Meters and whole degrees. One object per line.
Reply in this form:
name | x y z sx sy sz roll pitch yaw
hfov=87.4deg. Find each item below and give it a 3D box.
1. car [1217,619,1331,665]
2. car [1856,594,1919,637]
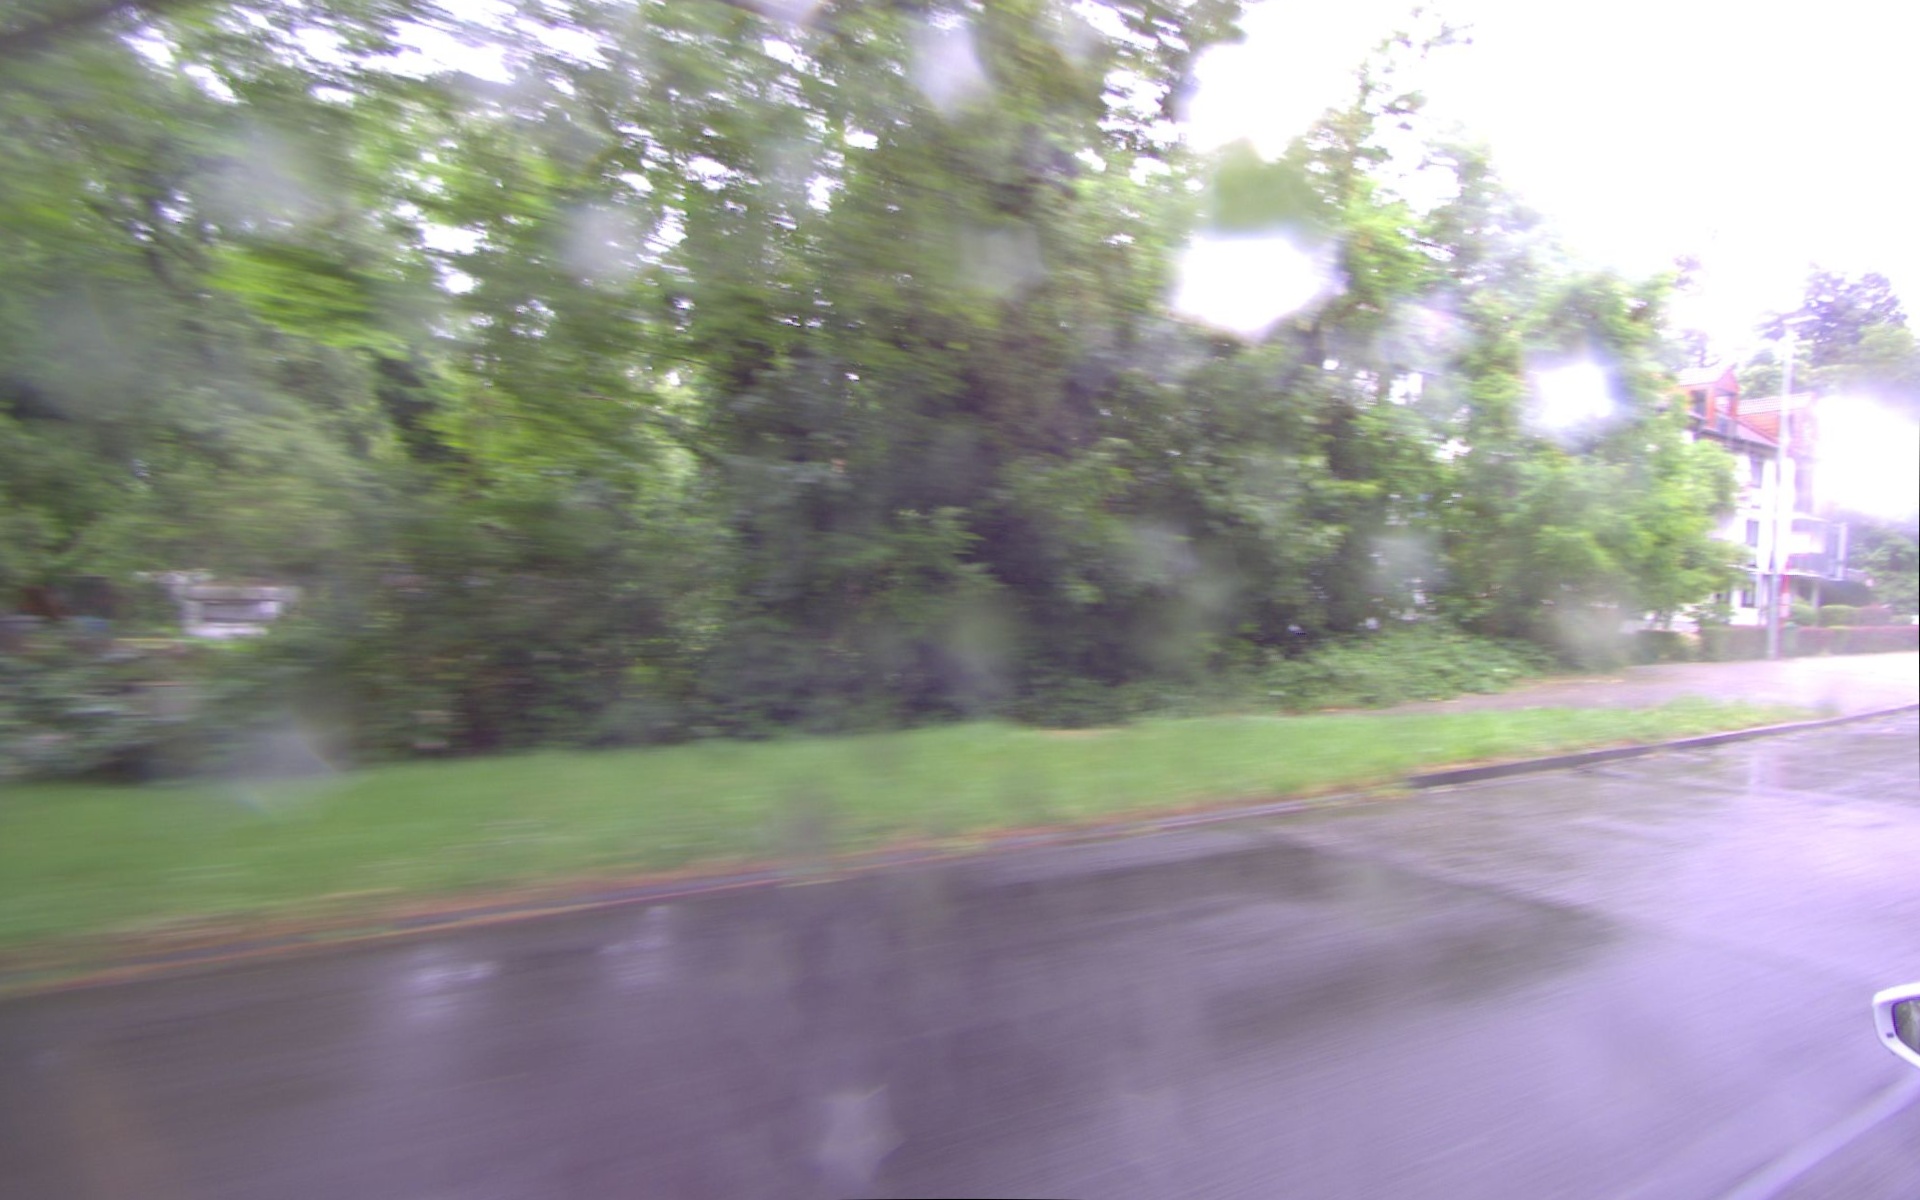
car | 10.861 1.485 34.929 1.706 1.505 3.530 3 -4 -33
car | 60.807 1.067 63.585 2.288 2.527 5.536 3 2 -30
